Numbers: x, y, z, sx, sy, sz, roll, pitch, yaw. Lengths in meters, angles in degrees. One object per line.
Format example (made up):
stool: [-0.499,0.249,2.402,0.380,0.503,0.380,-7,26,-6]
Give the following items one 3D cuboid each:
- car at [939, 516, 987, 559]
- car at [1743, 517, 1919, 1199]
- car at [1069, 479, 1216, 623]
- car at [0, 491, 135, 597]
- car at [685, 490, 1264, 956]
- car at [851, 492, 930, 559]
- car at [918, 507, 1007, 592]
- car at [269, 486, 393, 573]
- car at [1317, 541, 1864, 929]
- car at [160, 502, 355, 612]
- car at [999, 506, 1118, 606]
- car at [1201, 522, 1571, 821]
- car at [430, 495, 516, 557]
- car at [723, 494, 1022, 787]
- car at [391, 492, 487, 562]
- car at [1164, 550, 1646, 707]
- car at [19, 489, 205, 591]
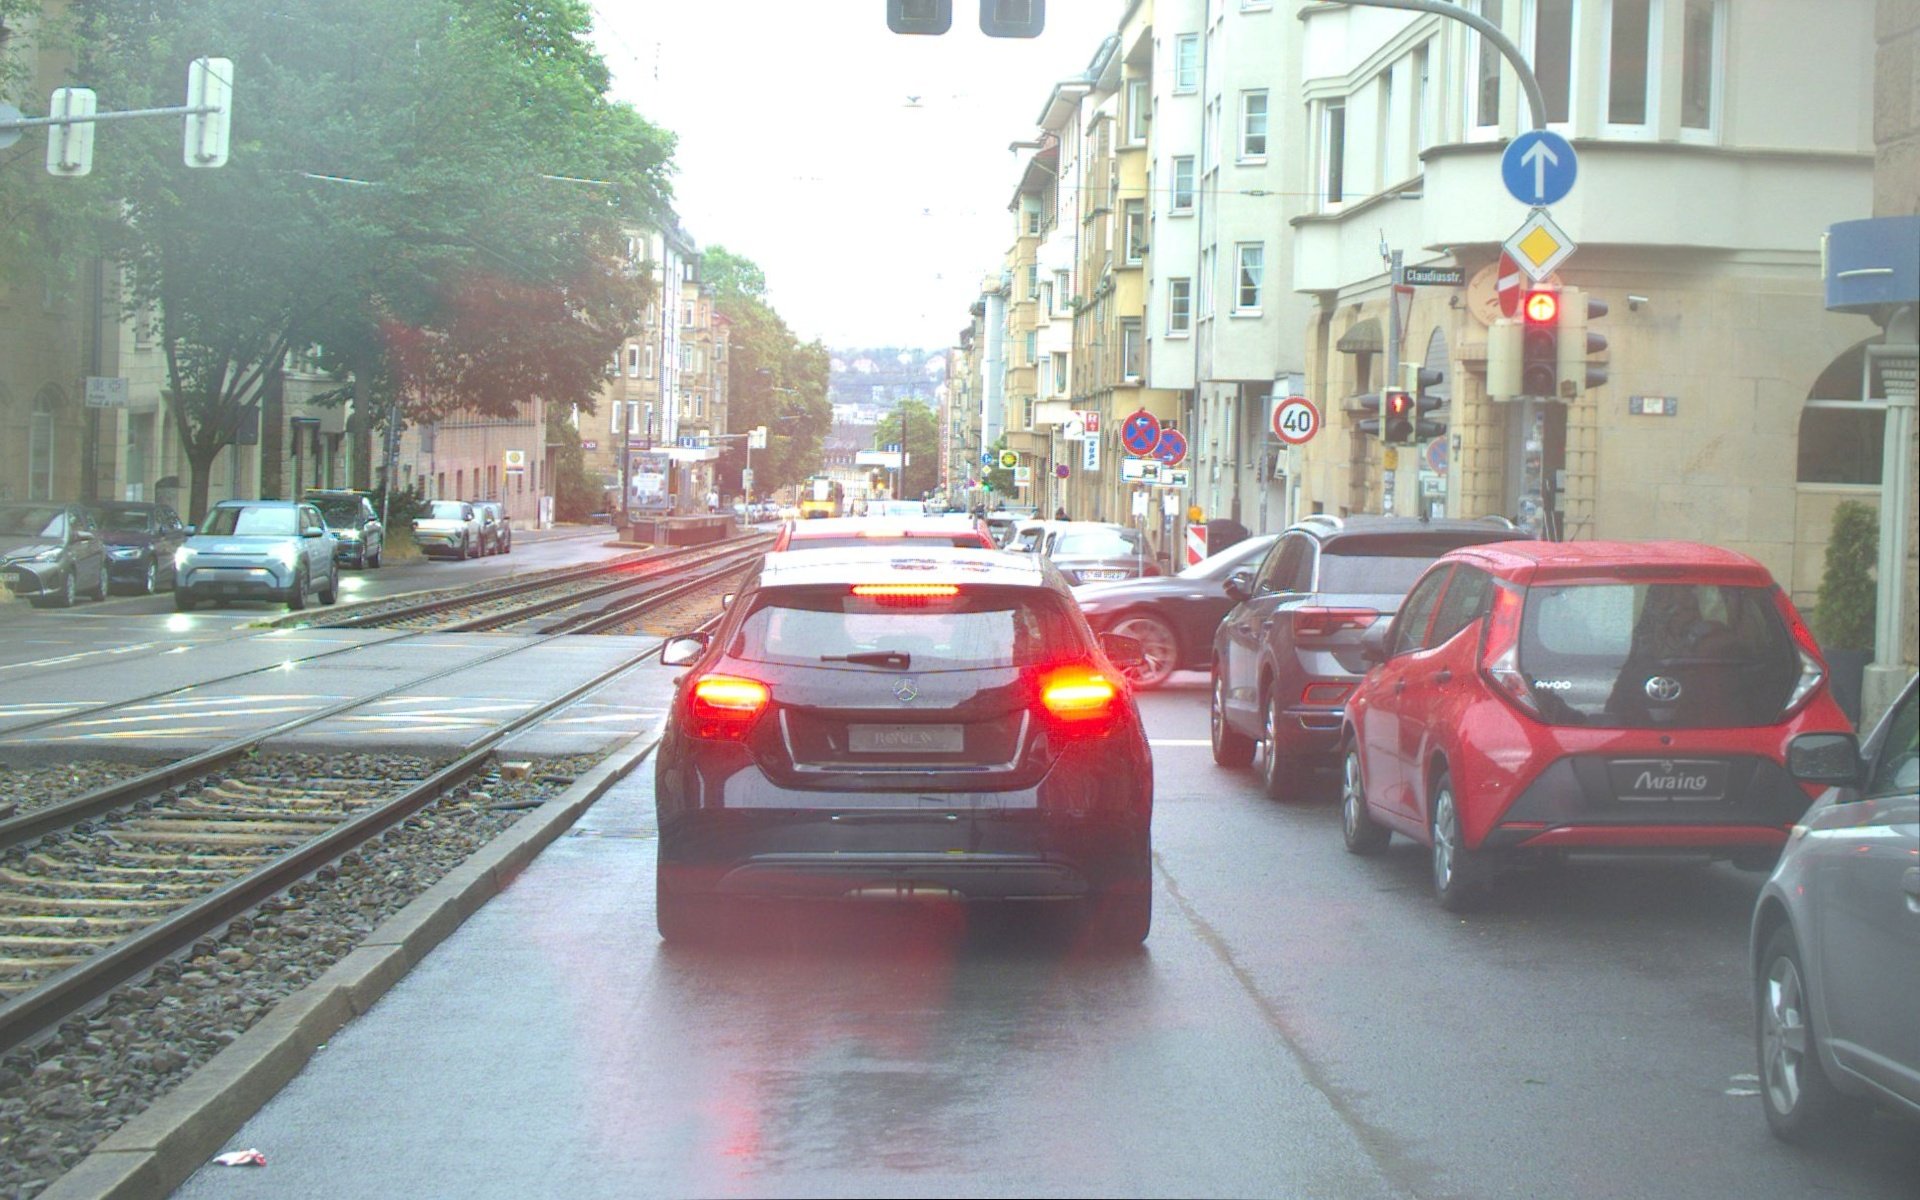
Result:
car: [0.110,-2.571,140.610,1.909,1.700,4.000,2,1,-1]
car: [2.896,0.615,7.332,1.638,1.537,3.466,2,1,0]
car: [2.673,-0.707,51.187,1.898,2.021,4.176,1,0,-1]
car: [-13.310,-0.808,49.823,1.771,1.459,4.000,1,1,-1]
car: [-0.012,0.402,13.484,1.946,1.559,3.643,1,1,-2]
car: [-1.835,-1.959,89.799,1.921,1.649,4.001,2,1,-3]
car: [0.035,-1.081,75.113,1.852,1.791,3.812,1,0,-1]
car: [-13.845,-1.563,75.870,1.993,1.787,4.000,2,1,-1]
car: [2.560,0.489,14.642,1.602,1.414,3.149,1,1,-2]
car: [-10.393,-0.650,51.127,1.796,1.543,4.000,-1,1,4]
car: [1.791,-0.787,63.644,1.768,1.769,4.001,1,0,-5]
car: [2.360,0.329,19.914,1.549,1.503,4.000,2,1,-1]
car: [-14.336,-2.181,101.393,1.932,1.722,4.186,2,1,-1]
car: [-0.485,0.170,20.252,1.536,1.505,4.000,2,1,-1]
car: [-14.122,-1.977,93.332,1.993,1.787,4.000,2,1,-1]
car: [4.153,0.247,32.630,4.265,1.284,2.000,2,1,0]
car: [-13.544,-0.972,55.142,1.993,1.512,4.000,2,1,-1]
